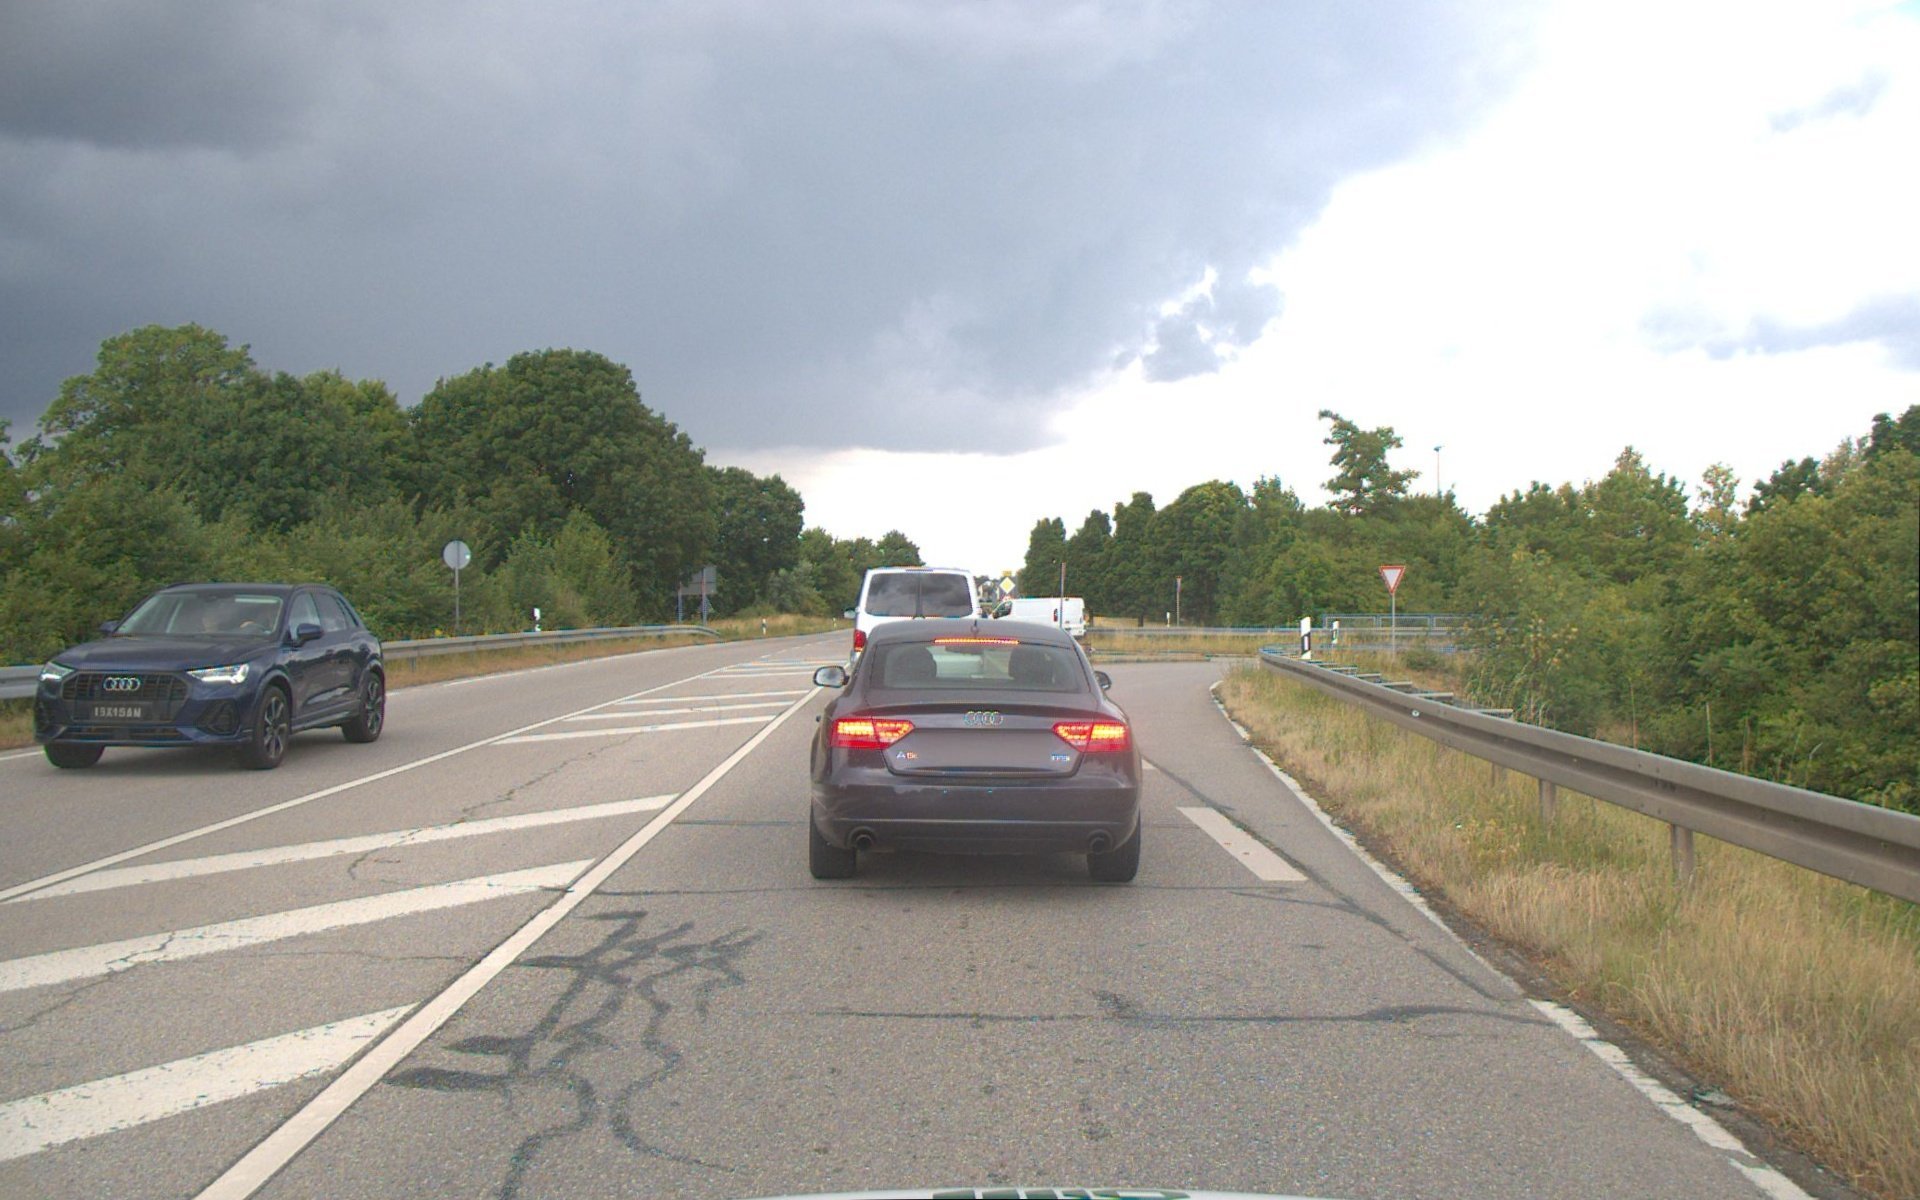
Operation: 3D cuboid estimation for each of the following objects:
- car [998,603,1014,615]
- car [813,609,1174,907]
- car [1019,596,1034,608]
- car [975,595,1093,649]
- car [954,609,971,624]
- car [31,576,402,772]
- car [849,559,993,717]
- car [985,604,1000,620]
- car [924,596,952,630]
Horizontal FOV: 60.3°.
[{"bbox_3d":[6.924,1.355,247.648,2.161,1.610,4.377,1,0,-2],"label":"car"},{"bbox_3d":[0.106,0.775,9.668,1.744,1.423,3.335,0,0,-2],"label":"car"},{"bbox_3d":[9.747,0.233,242.578,1.952,1.722,4.000,1,0,1],"label":"car"},{"bbox_3d":[3.006,0.890,68.442,2.071,2.101,4.798,1,0,-43],"label":"car"},{"bbox_3d":[0.266,1.739,173.175,1.490,1.423,3.185,0,-2,7],"label":"car"},{"bbox_3d":[-6.662,0.587,15.356,1.675,1.545,4.207,1,0,-3],"label":"car"},{"bbox_3d":[-0.577,0.493,23.740,1.872,2.049,3.998,1,0,-2],"label":"car"},{"bbox_3d":[4.344,1.542,221.173,1.952,2.049,4.000,1,0,1],"label":"car"},{"bbox_3d":[-1.656,0.968,124.990,1.953,2.451,3.999,2,0,-1],"label":"car"}]
